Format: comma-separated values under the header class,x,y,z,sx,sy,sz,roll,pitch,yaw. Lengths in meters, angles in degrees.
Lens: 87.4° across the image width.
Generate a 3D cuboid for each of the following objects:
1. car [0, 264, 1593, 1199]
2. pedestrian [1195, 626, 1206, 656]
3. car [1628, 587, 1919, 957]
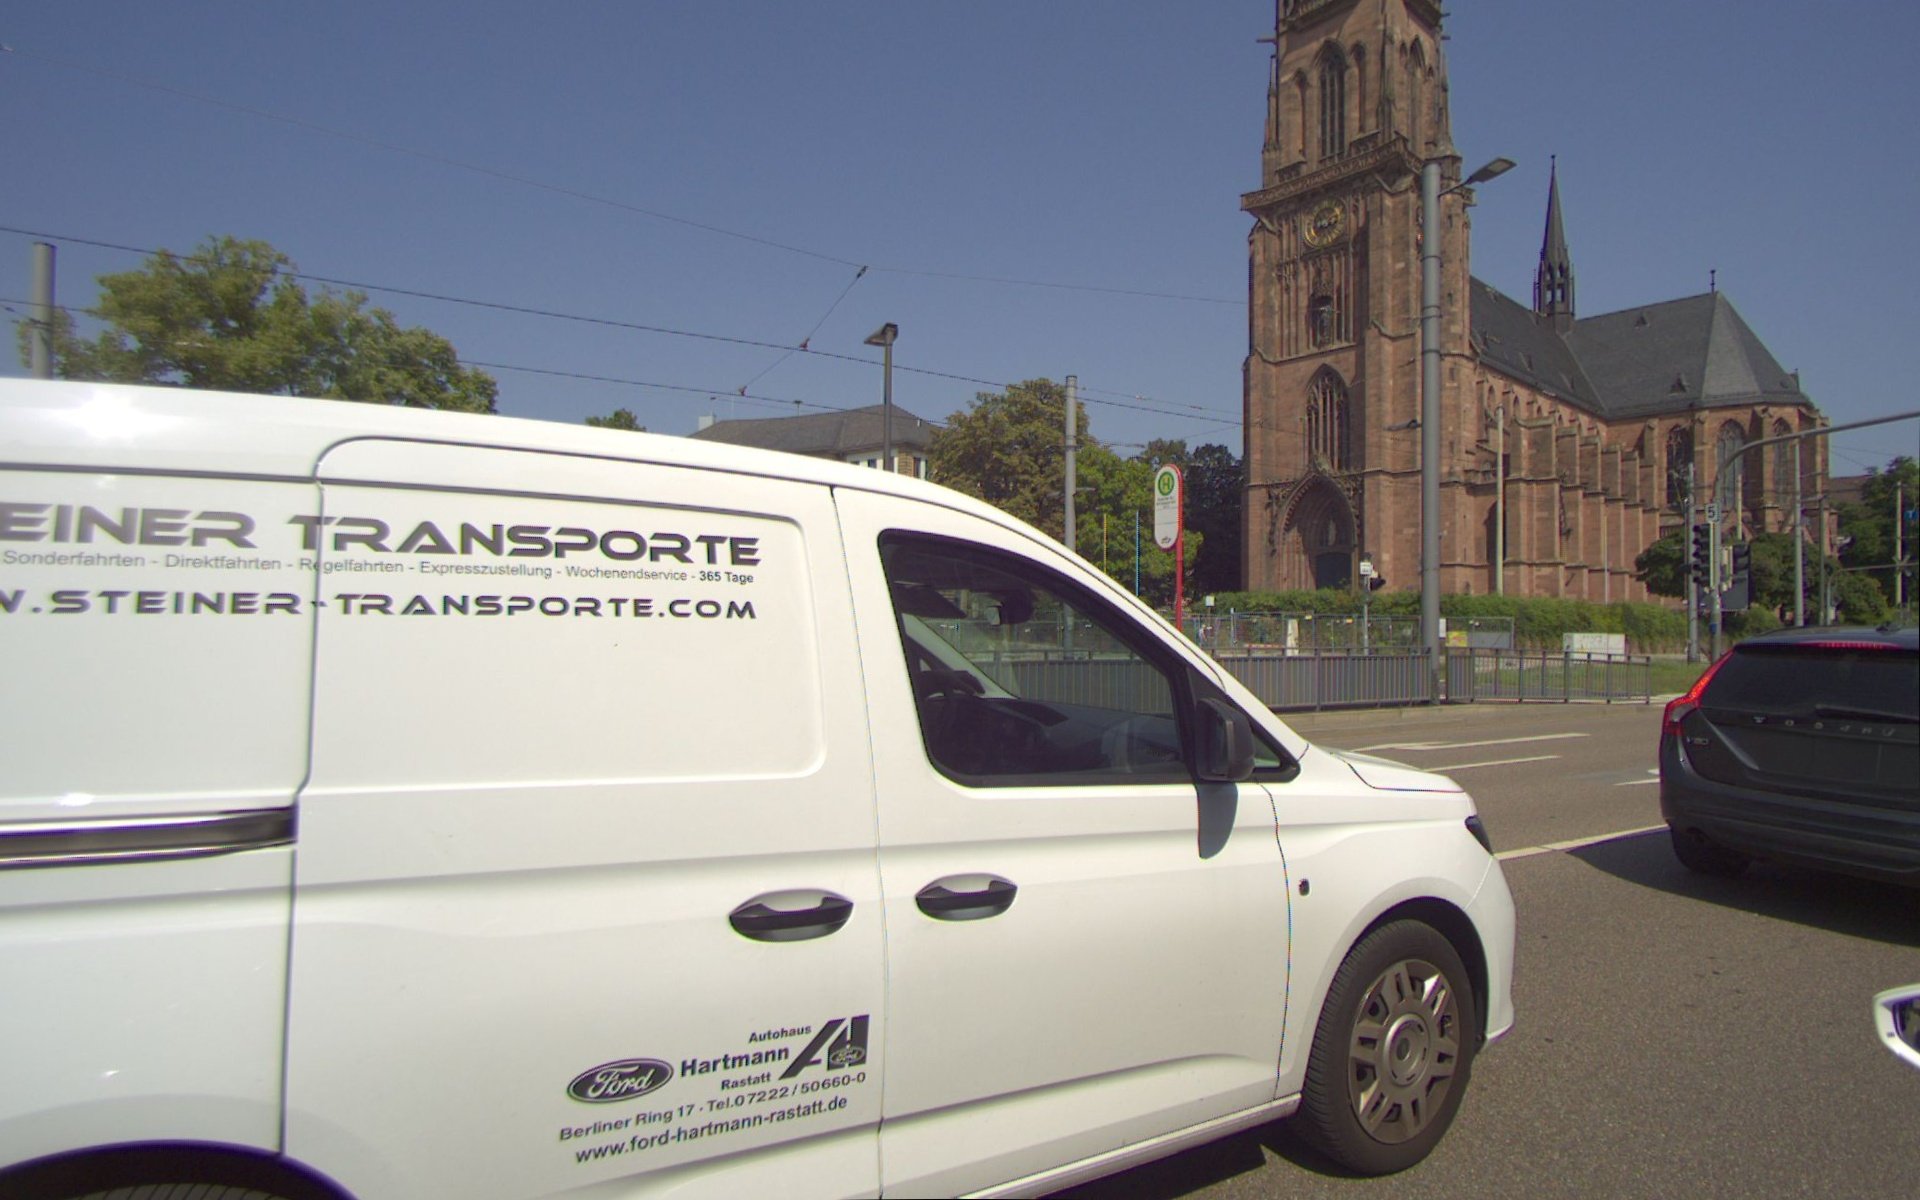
class,x,y,z,sx,sy,sz,roll,pitch,yaw
car,-0.344,0.546,2.709,4.189,1.844,1.739,1,-1,-30
pedestrian,12.632,2.147,52.734,0.533,1.551,0.436,0,-1,5
car,5.926,0.797,5.814,4.257,1.636,1.739,1,0,-30
